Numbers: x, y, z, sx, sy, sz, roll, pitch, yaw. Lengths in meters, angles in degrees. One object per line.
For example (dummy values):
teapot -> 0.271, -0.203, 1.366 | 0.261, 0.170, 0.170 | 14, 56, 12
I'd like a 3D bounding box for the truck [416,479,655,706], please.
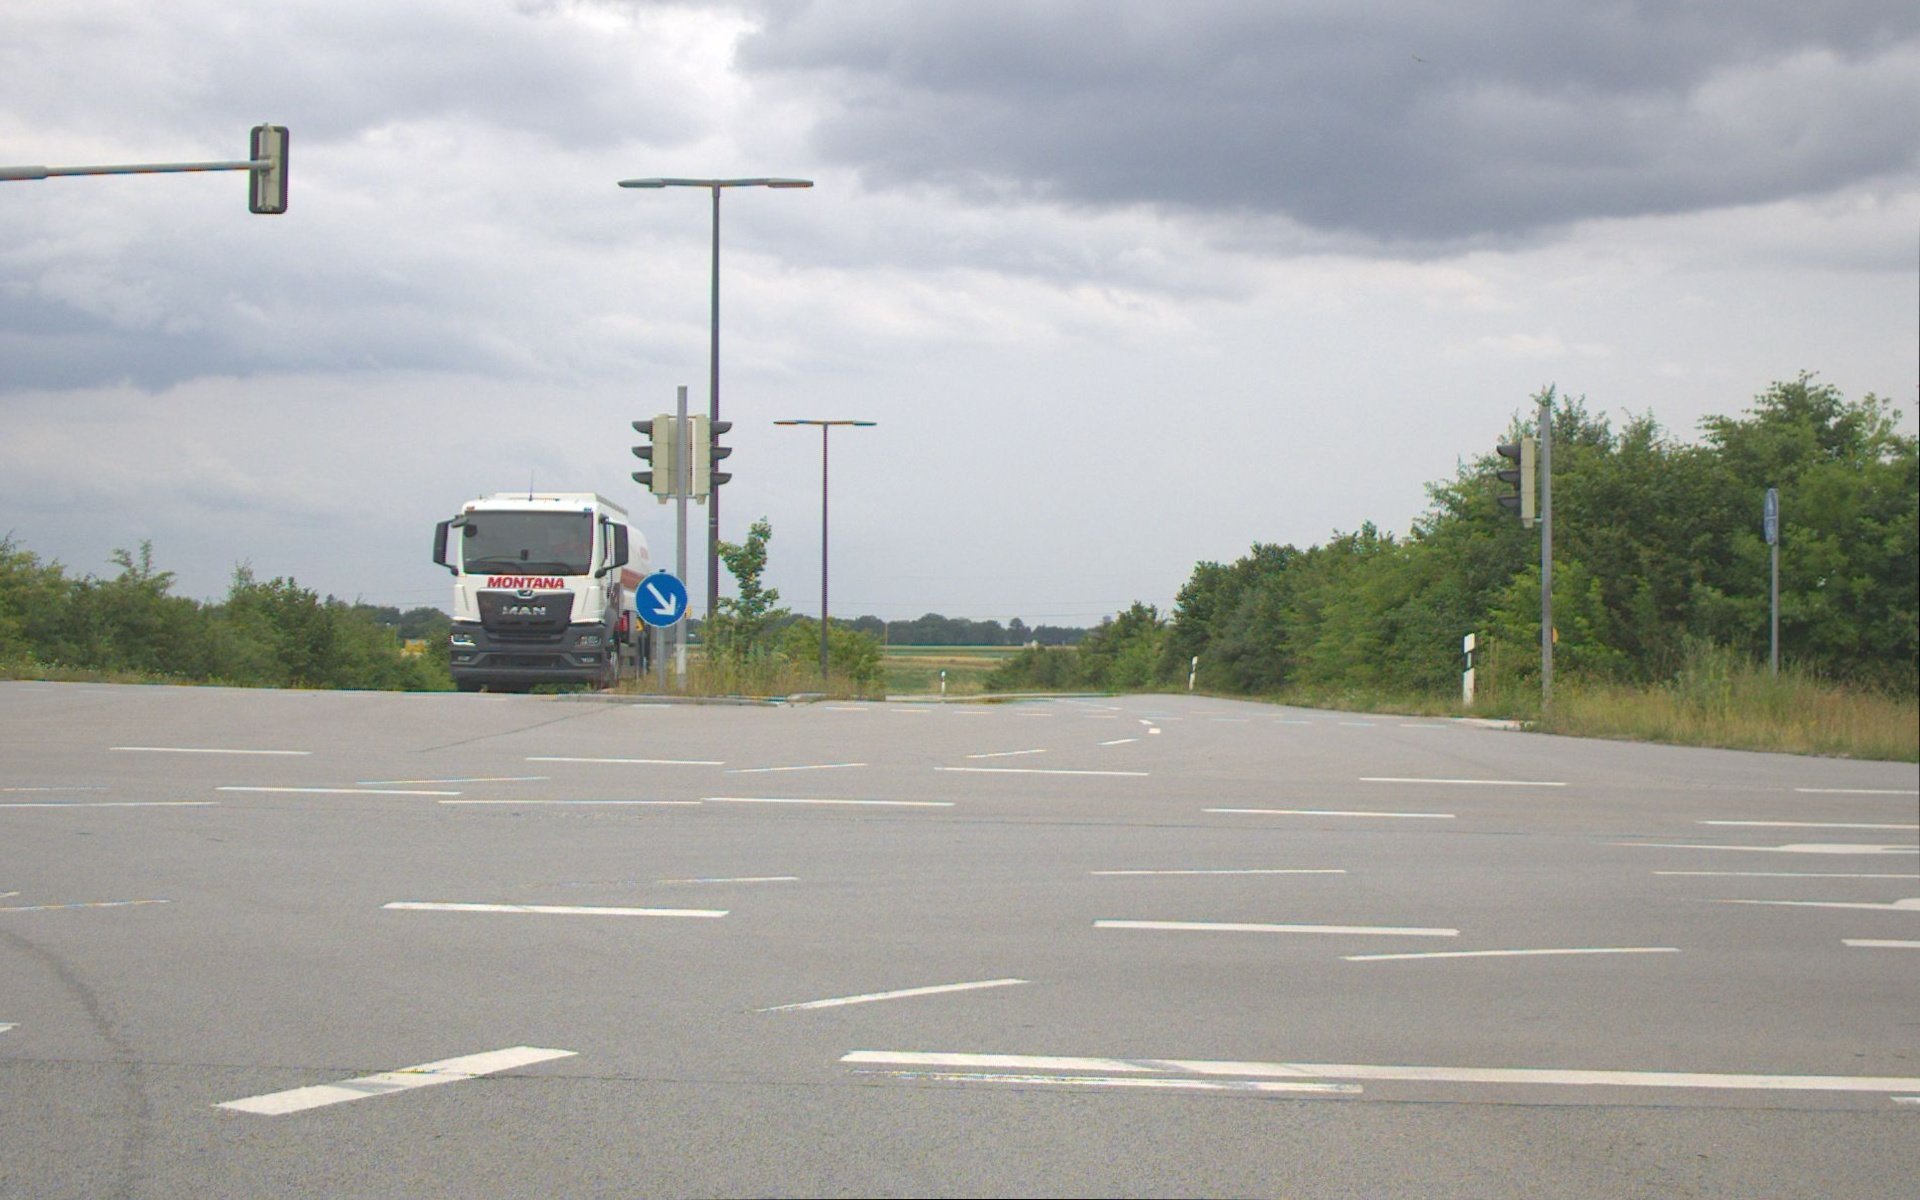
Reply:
truck -> -6.747, -0.026, 55.851 | 2.869, 3.397, 8.650 | 0, -1, -1
